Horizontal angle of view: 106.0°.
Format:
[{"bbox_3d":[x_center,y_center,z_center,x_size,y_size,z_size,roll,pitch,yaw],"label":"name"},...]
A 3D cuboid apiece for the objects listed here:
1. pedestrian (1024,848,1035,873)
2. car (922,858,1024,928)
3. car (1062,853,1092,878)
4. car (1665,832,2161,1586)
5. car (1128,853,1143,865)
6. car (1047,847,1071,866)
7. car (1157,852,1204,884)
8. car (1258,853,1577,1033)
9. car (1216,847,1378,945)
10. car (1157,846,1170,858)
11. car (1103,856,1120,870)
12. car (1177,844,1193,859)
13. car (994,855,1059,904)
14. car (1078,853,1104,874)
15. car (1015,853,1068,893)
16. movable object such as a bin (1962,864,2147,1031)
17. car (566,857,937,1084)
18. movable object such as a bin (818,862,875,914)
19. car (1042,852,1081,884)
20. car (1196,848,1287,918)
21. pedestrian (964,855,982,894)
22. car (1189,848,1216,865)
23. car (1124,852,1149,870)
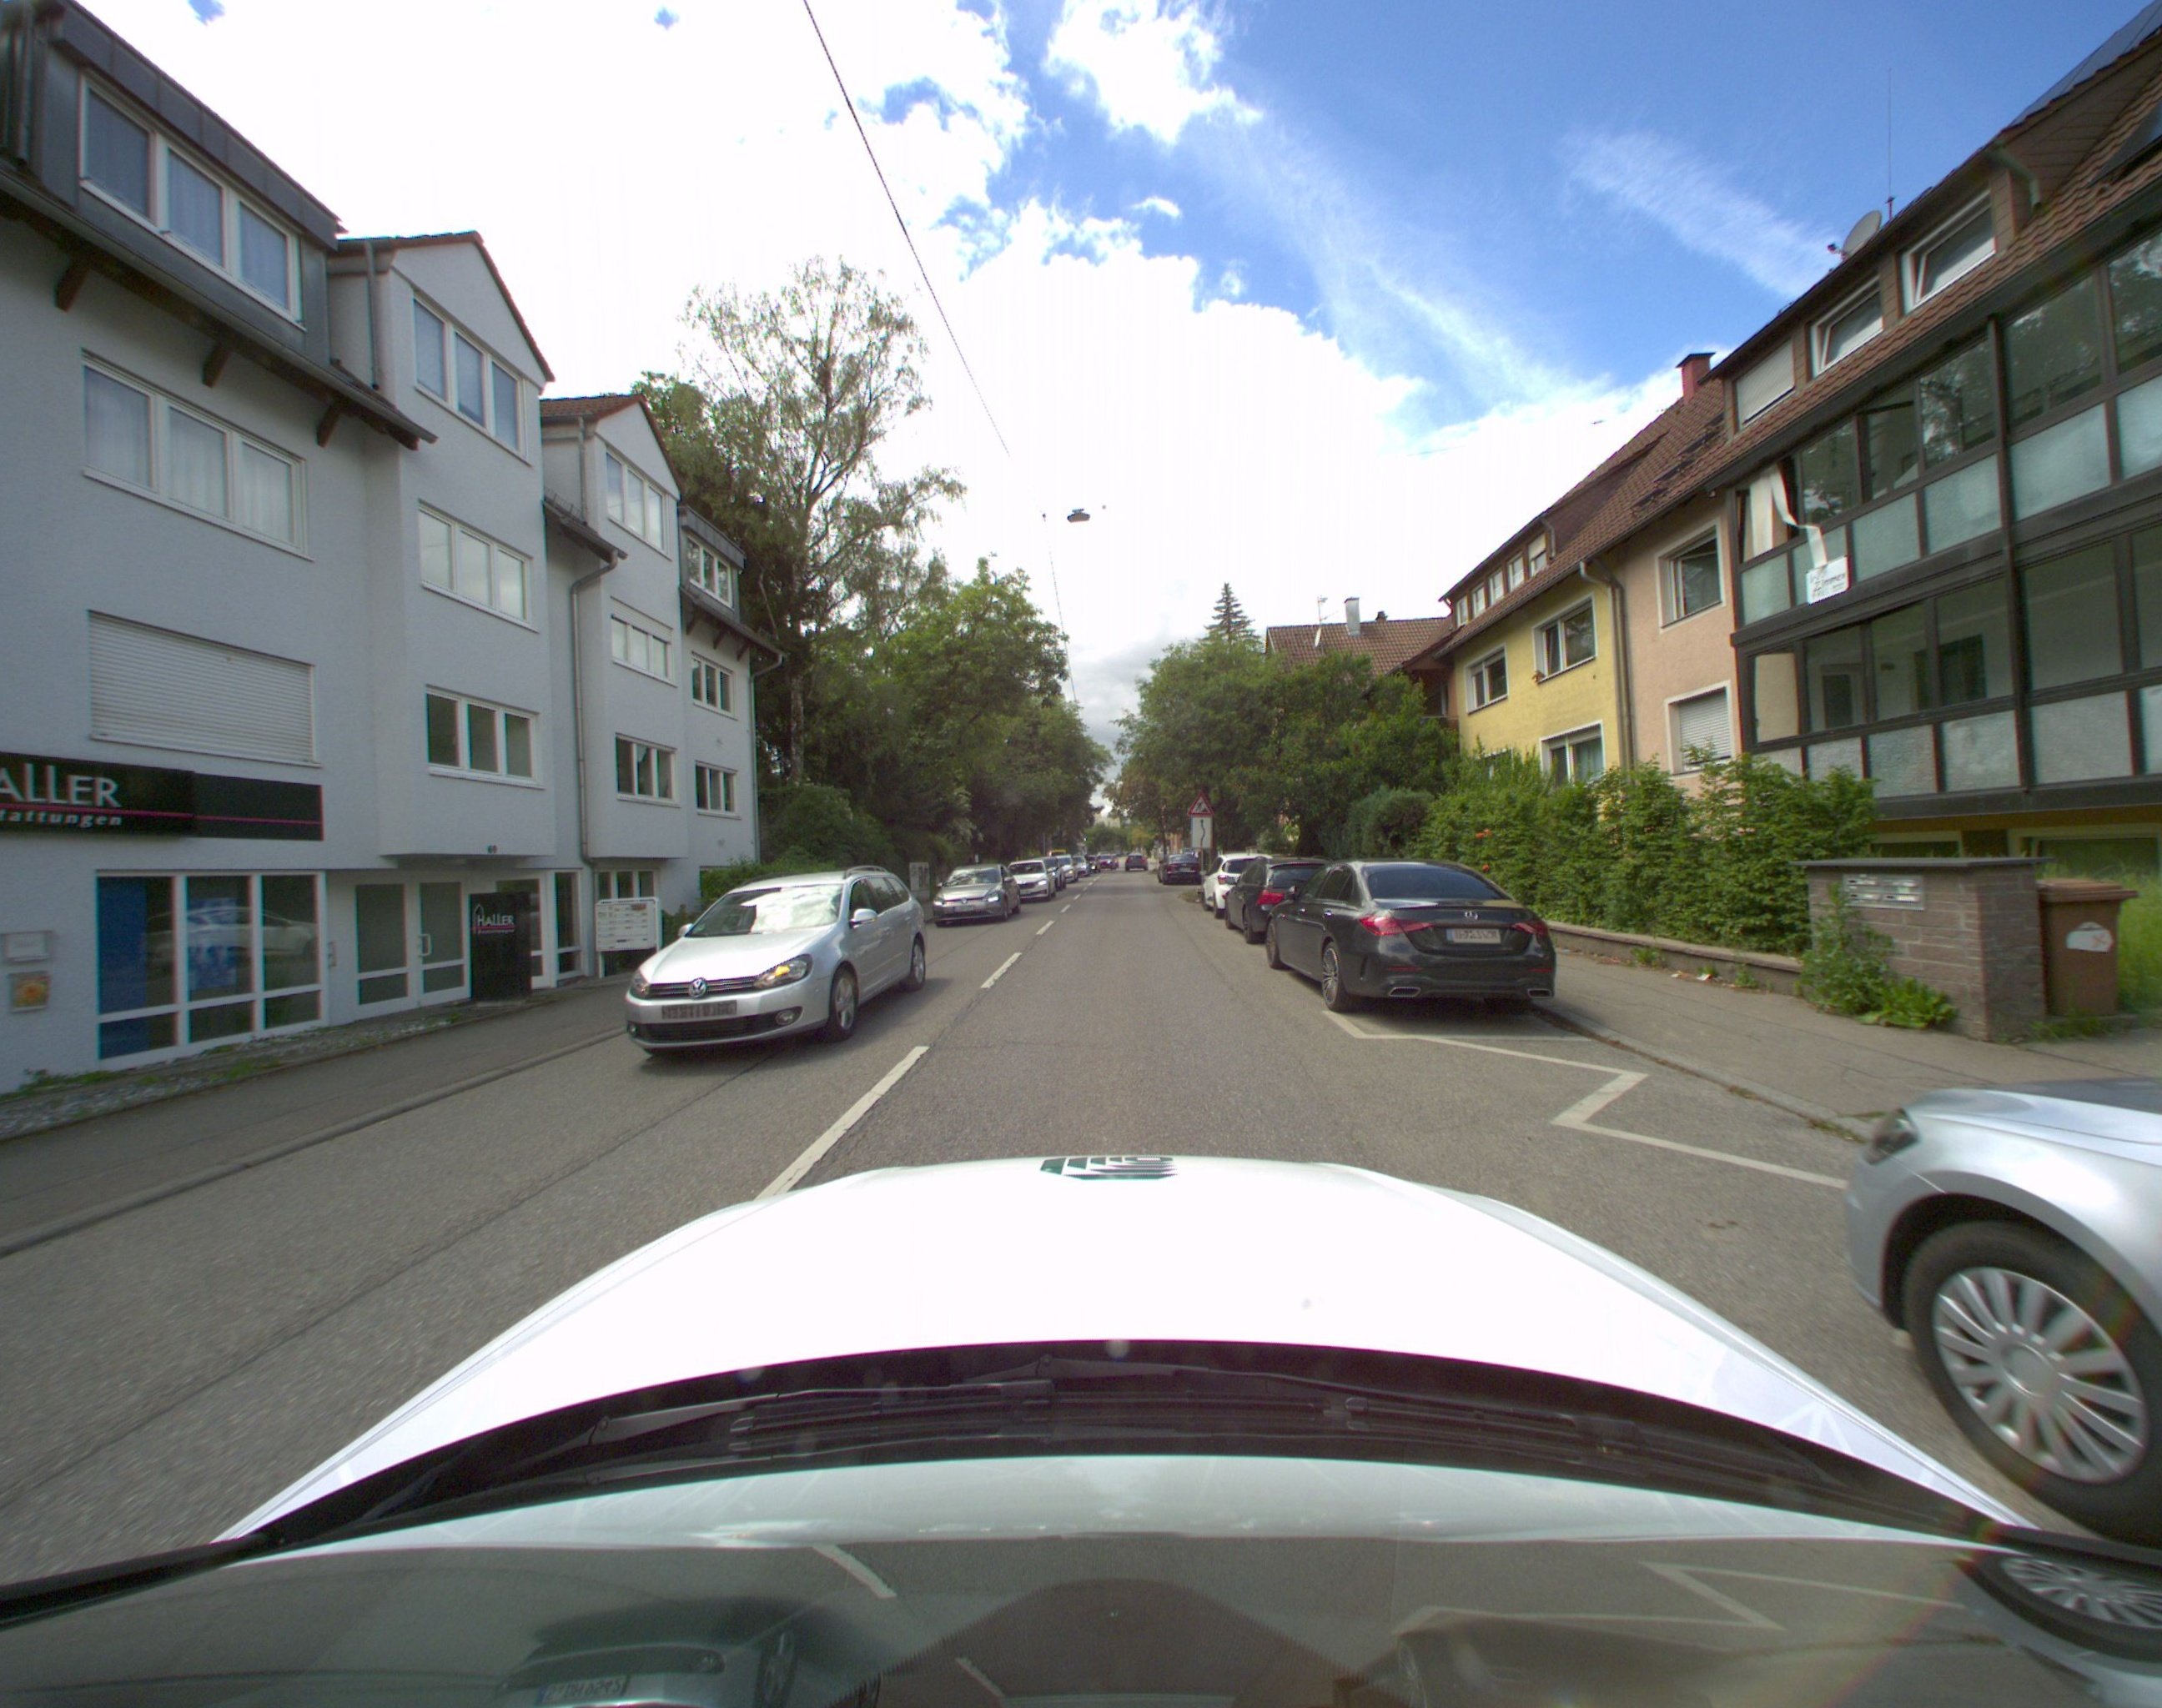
[{"bbox_3d":[-3.743,0.495,59.805,0.712,1.762,1.121,-2,-1,-3],"label":"pedestrian"},{"bbox_3d":[-2.668,0.919,21.129,1.702,1.455,4.290,-6,-1,3],"label":"car"},{"bbox_3d":[-0.263,0.798,59.177,1.777,1.591,4.157,-4,0,3],"label":"car"},{"bbox_3d":[2.915,0.691,0.570,1.694,1.480,4.876,-1,0,3],"label":"car"},{"bbox_3d":[7.135,0.671,106.159,1.808,1.501,4.271,-2,0,4],"label":"car"},{"bbox_3d":[-2.533,0.292,94.280,2.135,1.981,4.938,-3,-1,5],"label":"car"},{"bbox_3d":[4.711,0.619,39.260,1.795,1.445,4.889,-1,0,2],"label":"car"},{"bbox_3d":[3.240,0.712,9.013,1.727,1.428,4.886,0,0,3],"label":"car"},{"bbox_3d":[3.723,0.638,14.911,1.985,1.423,4.593,-3,0,4],"label":"car"},{"bbox_3d":[14.099,-0.297,138.866,1.984,2.014,4.005,-3,-1,4],"label":"car"},{"bbox_3d":[3.430,1.029,90.375,1.683,1.425,3.441,-3,-1,5],"label":"car"},{"bbox_3d":[12.749,-0.326,99.770,1.775,1.634,3.699,-6,0,6],"label":"car"},{"bbox_3d":[-1.870,0.858,28.966,1.753,1.439,3.973,-5,0,2],"label":"car"},{"bbox_3d":[0.898,0.793,70.035,1.781,1.542,4.269,-4,0,4],"label":"car"},{"bbox_3d":[-1.742,0.827,37.405,1.920,1.546,4.089,-6,0,3],"label":"car"},{"bbox_3d":[6.750,0.625,5.679,0.520,1.080,0.605,-3,-1,8],"label":"movable object such as a bin"},{"bbox_3d":[-2.832,0.875,8.225,1.722,1.502,4.378,-5,0,2],"label":"car"},{"bbox_3d":[-6.978,0.996,24.292,1.327,1.427,1.212,-2,-1,-4],"label":"movable object such as a bin"},{"bbox_3d":[-1.075,0.759,47.126,1.779,1.648,4.494,-5,0,3],"label":"car"},{"bbox_3d":[3.885,0.656,20.275,1.615,1.507,3.781,-3,0,3],"label":"car"},{"bbox_3d":[-4.748,0.917,35.923,0.651,1.667,0.931,-2,-1,-3],"label":"pedestrian"},{"bbox_3d":[10.465,0.186,70.407,1.718,1.316,4.267,-2,0,1],"label":"car"},{"bbox_3d":[4.931,0.613,71.893,1.965,1.513,4.276,0,0,7],"label":"car"}]
